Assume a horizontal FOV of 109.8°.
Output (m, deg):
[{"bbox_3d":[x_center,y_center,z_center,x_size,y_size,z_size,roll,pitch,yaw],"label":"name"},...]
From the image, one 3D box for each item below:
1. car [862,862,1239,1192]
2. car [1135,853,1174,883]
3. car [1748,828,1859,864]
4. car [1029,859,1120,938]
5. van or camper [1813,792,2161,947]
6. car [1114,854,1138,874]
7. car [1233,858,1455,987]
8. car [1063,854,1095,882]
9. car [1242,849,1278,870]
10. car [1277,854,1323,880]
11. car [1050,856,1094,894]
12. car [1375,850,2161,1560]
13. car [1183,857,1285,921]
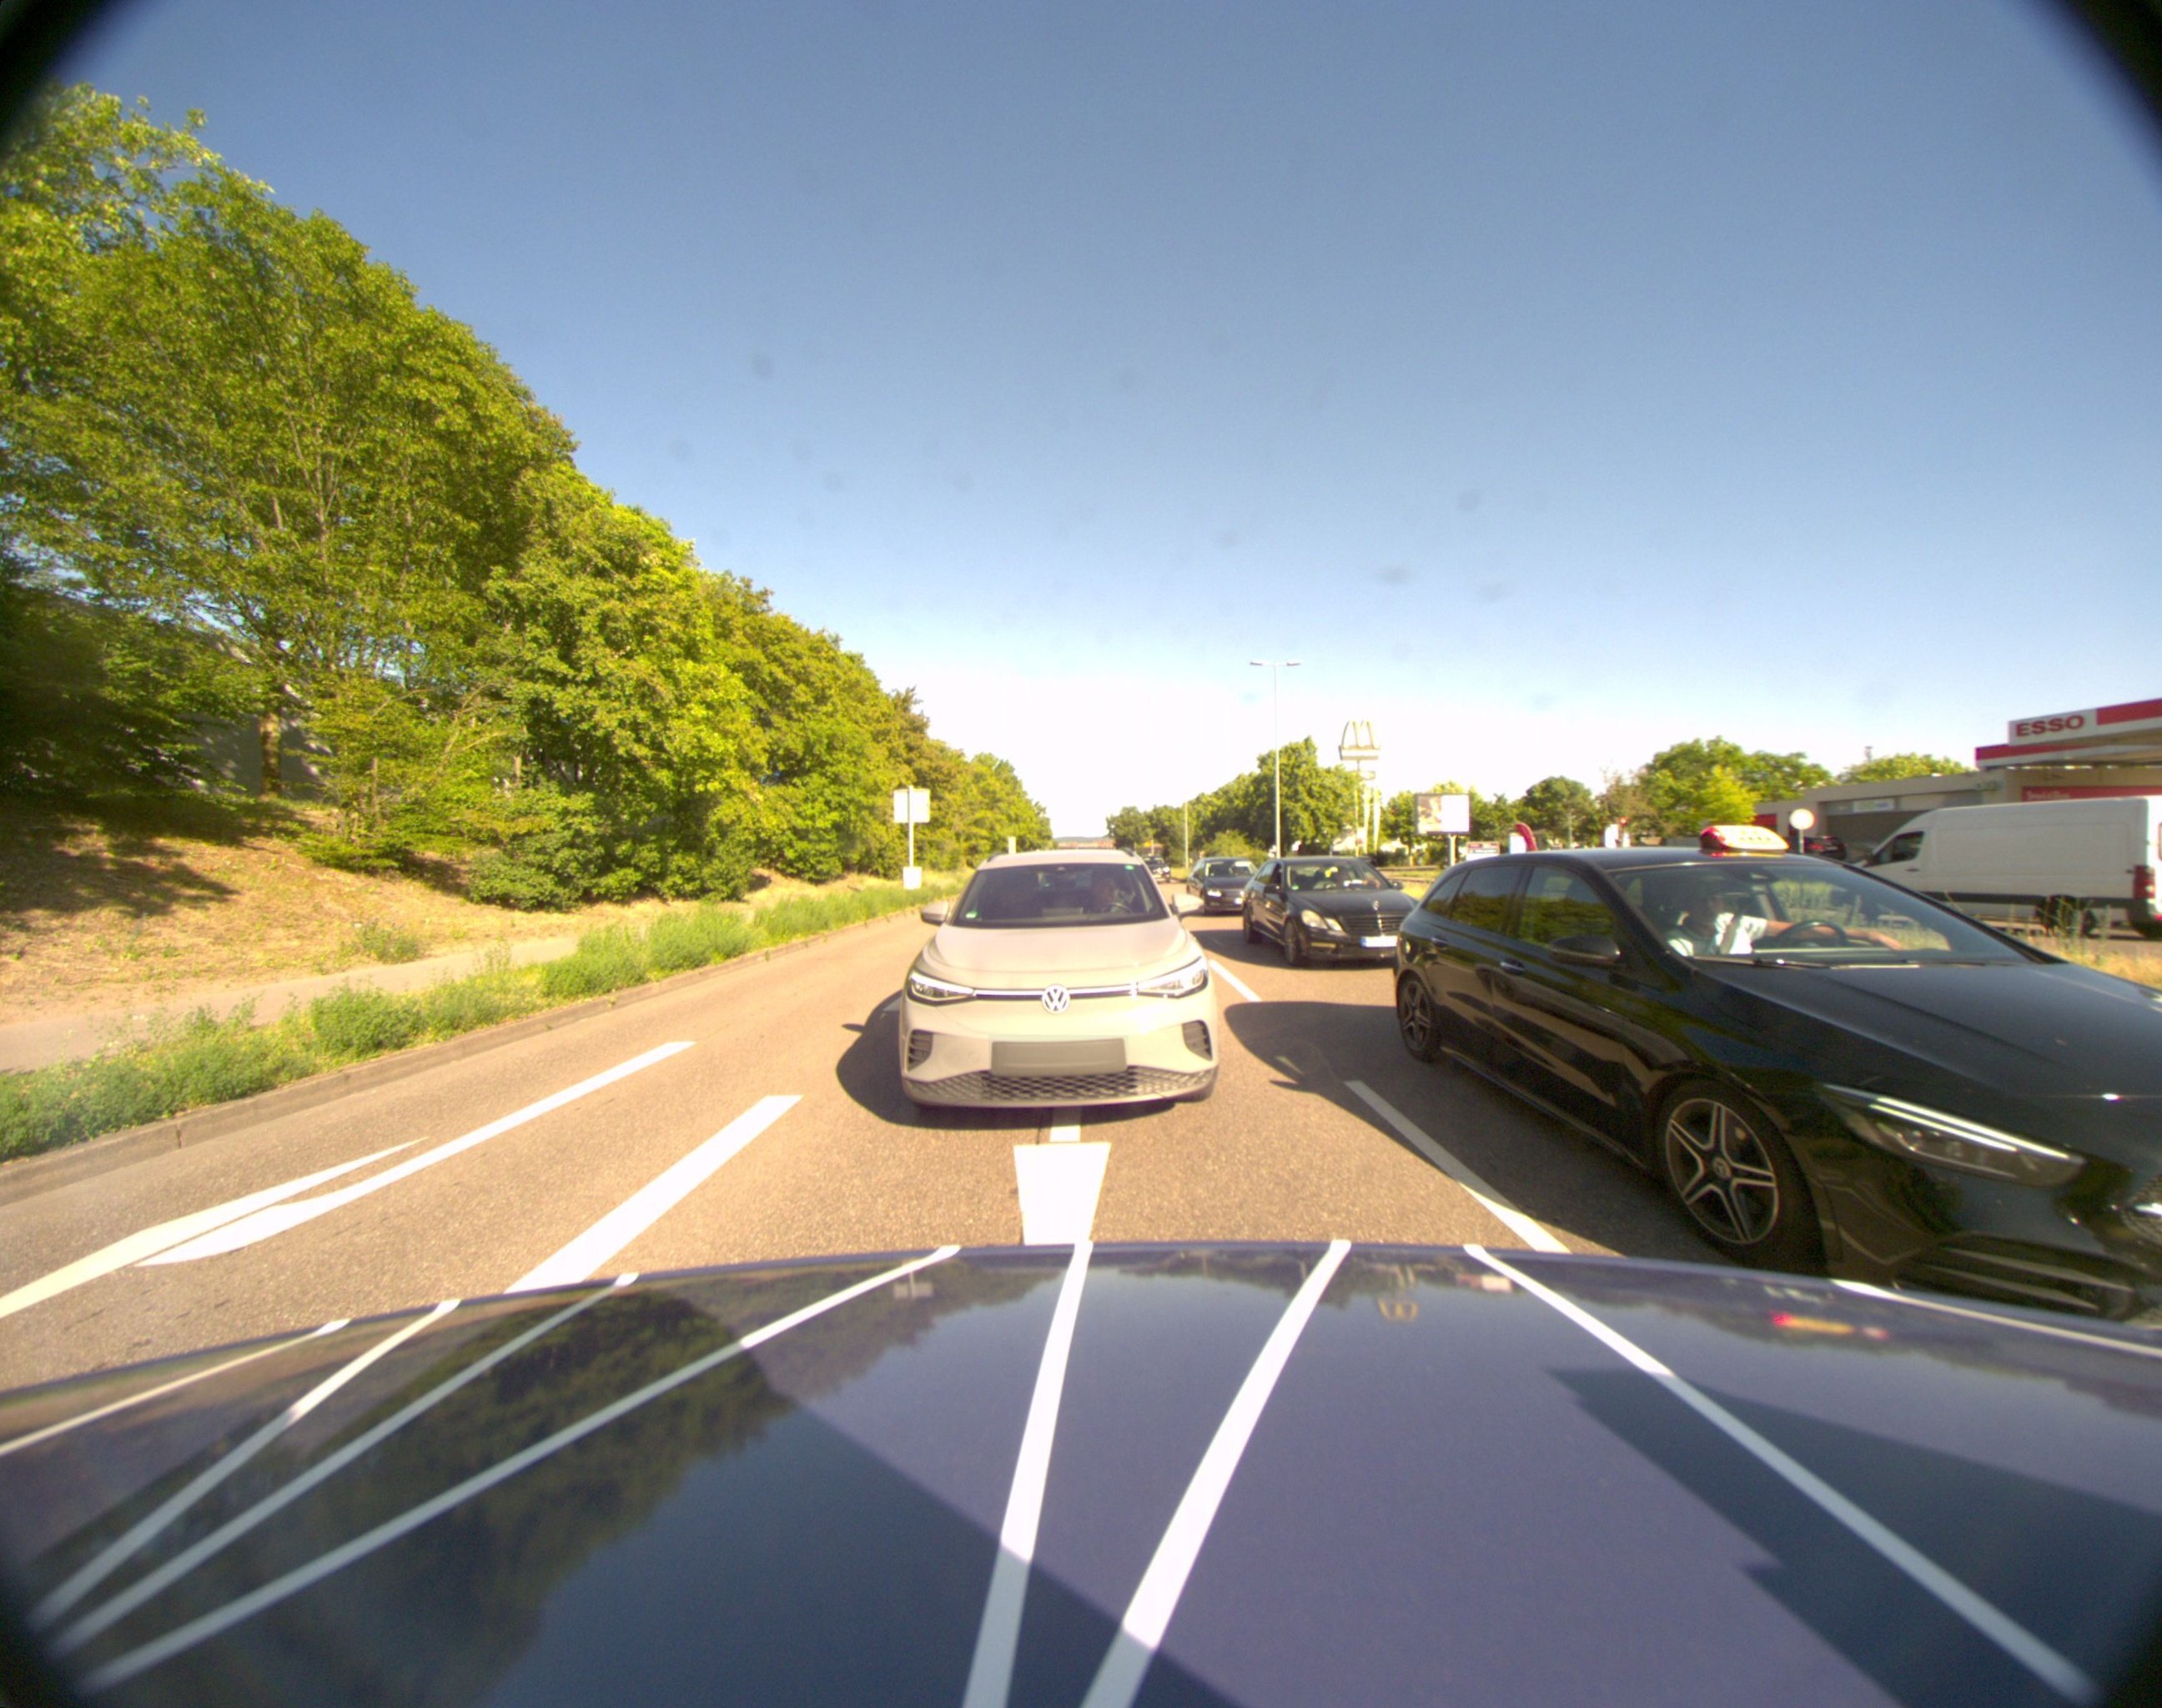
[{"bbox_3d":[-0.129,0.902,5.818,1.871,1.588,3.932,-2,0,1],"label":"car"},{"bbox_3d":[4.249,0.774,44.267,1.862,1.578,4.403,-1,0,1],"label":"car"},{"bbox_3d":[37.699,-0.415,39.815,1.998,1.759,4.118,-1,0,2],"label":"car"},{"bbox_3d":[-0.113,0.901,16.969,1.765,1.503,3.760,-2,0,1],"label":"car"},{"bbox_3d":[19.295,0.282,15.956,1.999,2.635,5.956,1,0,0],"label":"van or camper"},{"bbox_3d":[3.856,0.832,65.627,1.862,1.578,4.403,-1,0,1],"label":"car"},{"bbox_3d":[3.646,0.854,11.466,1.862,1.515,4.403,-1,0,1],"label":"car"},{"bbox_3d":[-0.093,0.751,43.852,1.765,1.503,3.760,-2,0,1],"label":"car"},{"bbox_3d":[17.203,0.508,73.399,1.999,2.002,5.024,1,0,-3],"label":"car"},{"bbox_3d":[15.023,0.874,52.339,1.884,1.680,4.436,-1,0,0],"label":"car"},{"bbox_3d":[-0.346,0.889,33.275,1.765,1.503,3.760,-2,0,1],"label":"car"},{"bbox_3d":[3.160,0.813,3.829,1.804,1.616,4.188,-1,0,2],"label":"car"},{"bbox_3d":[3.944,0.832,20.261,1.862,1.472,4.403,-1,0,1],"label":"car"}]
